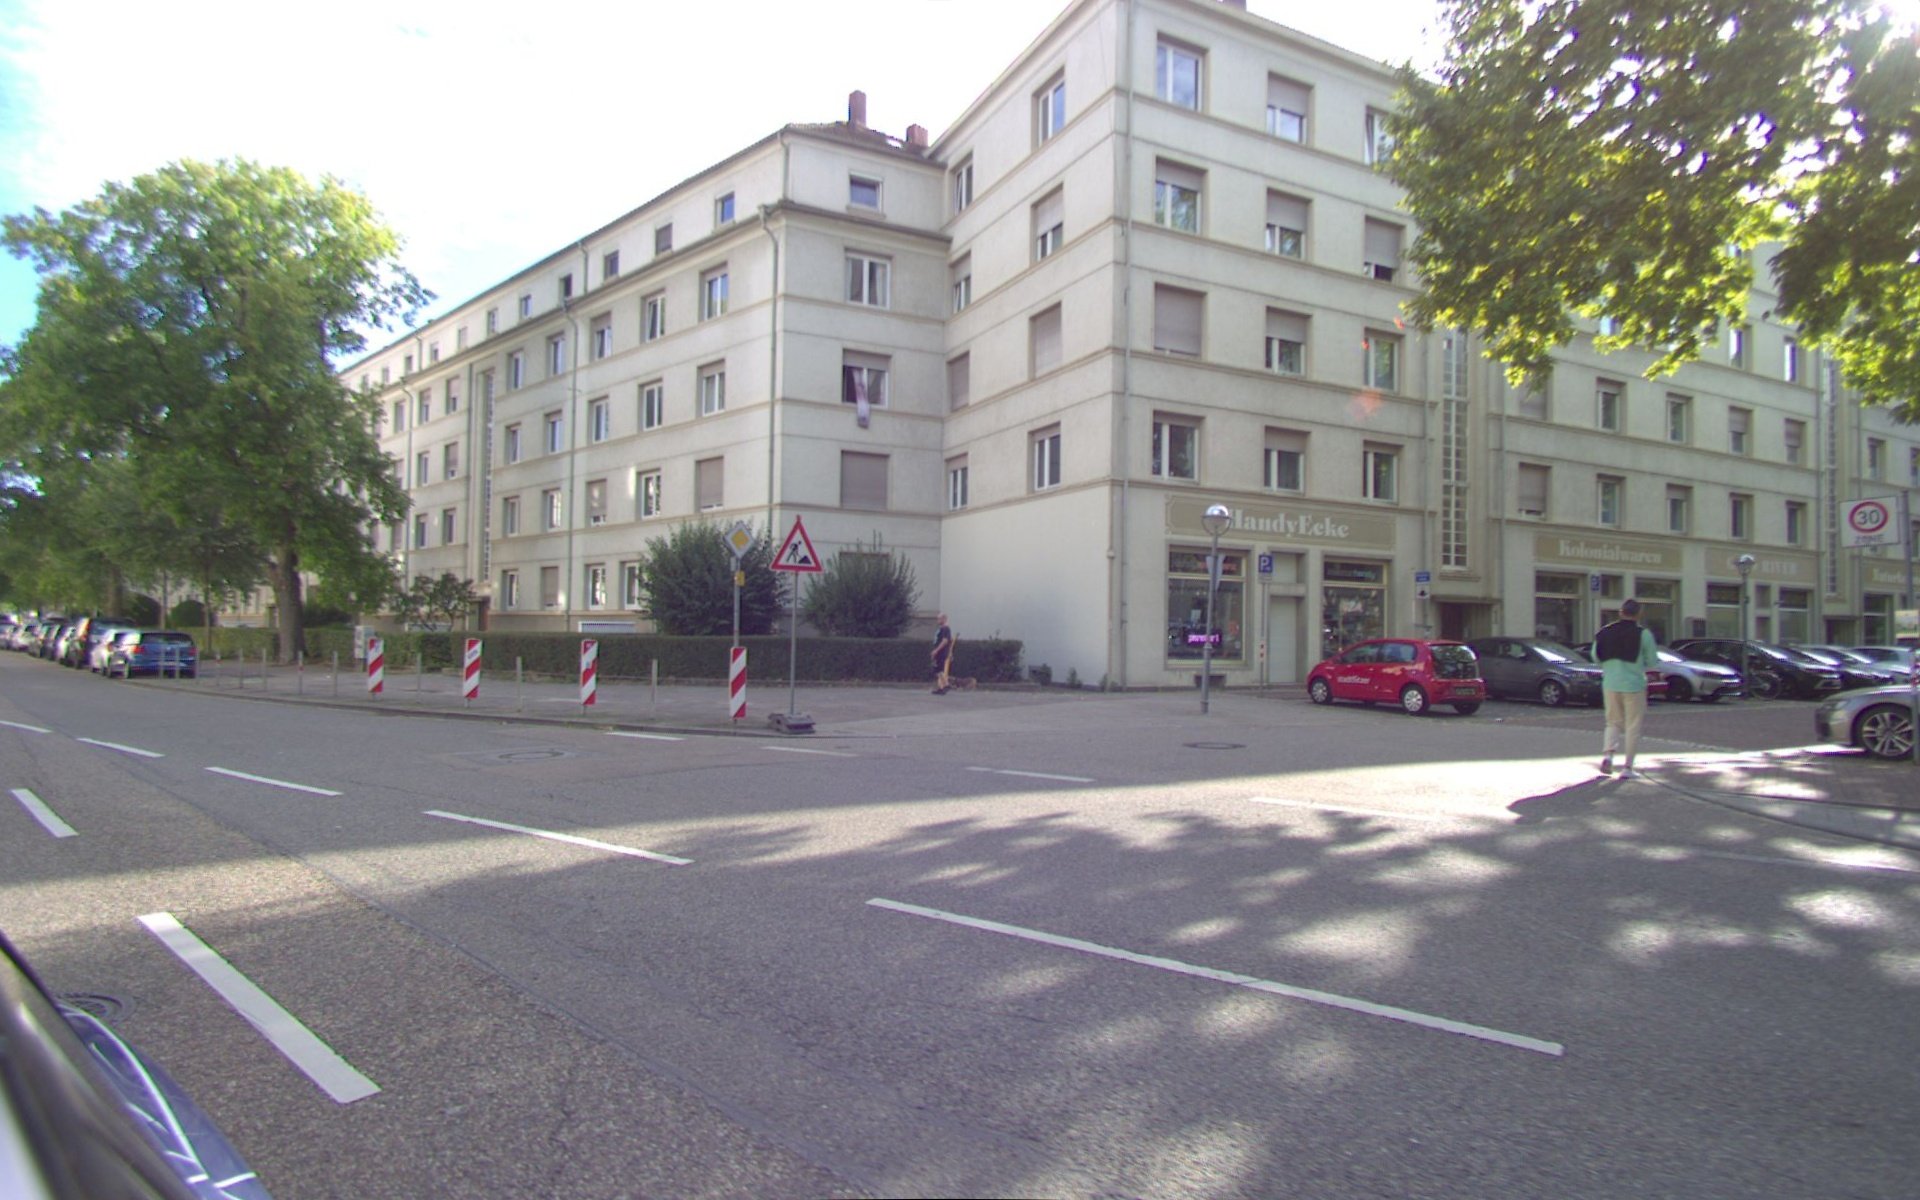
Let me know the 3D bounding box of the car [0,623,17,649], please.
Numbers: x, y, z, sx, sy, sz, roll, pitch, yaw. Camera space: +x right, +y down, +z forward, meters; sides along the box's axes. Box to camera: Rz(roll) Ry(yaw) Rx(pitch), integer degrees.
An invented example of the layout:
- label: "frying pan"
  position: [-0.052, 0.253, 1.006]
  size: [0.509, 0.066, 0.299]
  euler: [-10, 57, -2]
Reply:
- label: "car"
  position: [-70.073, 2.583, 73.452]
  size: [4.970, 1.807, 1.857]
  euler: [-1, -5, 42]

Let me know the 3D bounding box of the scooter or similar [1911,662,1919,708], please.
- label: "scooter or similar"
  position: [20.373, 1.758, 20.789]
  size: [0.997, 0.930, 0.810]
  euler: [1, -2, -18]

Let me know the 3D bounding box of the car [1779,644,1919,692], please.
- label: "car"
  position: [26.725, 1.966, 29.904]
  size: [1.623, 1.314, 3.570]
  euler: [2, -2, -30]

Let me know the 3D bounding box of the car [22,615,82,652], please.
- label: "car"
  position: [-44.367, 1.657, 49.411]
  size: [4.484, 1.681, 1.779]
  euler: [-2, -5, 44]

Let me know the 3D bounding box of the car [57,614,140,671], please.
- label: "car"
  position: [-30.919, 1.529, 36.274]
  size: [4.192, 1.897, 1.704]
  euler: [-2, -5, 43]

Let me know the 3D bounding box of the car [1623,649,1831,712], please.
- label: "car"
  position: [18.092, 1.850, 24.019]
  size: [1.623, 1.314, 3.570]
  euler: [2, -2, -30]

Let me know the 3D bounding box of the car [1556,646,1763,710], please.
- label: "car"
  position: [16.015, 1.740, 23.350]
  size: [1.623, 1.314, 3.570]
  euler: [2, -2, -30]

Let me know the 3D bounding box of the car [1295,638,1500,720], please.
- label: "car"
  position: [8.836, 1.540, 20.754]
  size: [1.568, 1.489, 3.718]
  euler: [1, -2, -26]

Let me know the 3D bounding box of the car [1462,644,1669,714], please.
- label: "car"
  position: [13.491, 1.704, 22.760]
  size: [1.568, 1.377, 3.718]
  euler: [1, -2, -27]

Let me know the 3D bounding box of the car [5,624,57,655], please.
- label: "car"
  position: [-50.933, 2.147, 55.463]
  size: [3.993, 1.632, 1.720]
  euler: [-1, -3, 42]

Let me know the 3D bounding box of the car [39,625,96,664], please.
- label: "car"
  position: [-37.818, 1.883, 42.864]
  size: [3.017, 1.532, 1.535]
  euler: [-2, -5, 45]

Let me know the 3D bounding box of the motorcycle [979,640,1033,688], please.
- label: "motorcycle"
  position: [1.174, 1.640, 26.192]
  size: [0.537, 1.172, 1.882]
  euler: [2, -2, -27]

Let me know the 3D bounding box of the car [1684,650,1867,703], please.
- label: "car"
  position: [22.408, 2.057, 27.950]
  size: [1.623, 1.314, 3.570]
  euler: [2, -2, -30]

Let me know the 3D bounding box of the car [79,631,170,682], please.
- label: "car"
  position: [-26.905, 1.792, 32.552]
  size: [3.804, 1.505, 1.779]
  euler: [-2, -5, 44]

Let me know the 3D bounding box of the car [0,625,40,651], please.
- label: "car"
  position: [-54.418, 2.178, 58.404]
  size: [4.013, 1.479, 1.596]
  euler: [-1, -3, 43]

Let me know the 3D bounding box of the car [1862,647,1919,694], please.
- label: "car"
  position: [30.993, 2.229, 31.810]
  size: [1.623, 1.455, 3.570]
  euler: [2, -2, -30]

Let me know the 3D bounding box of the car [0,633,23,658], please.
- label: "car"
  position: [-62.332, 2.934, 65.991]
  size: [1.665, 1.492, 4.455]
  euler: [7, -6, -43]

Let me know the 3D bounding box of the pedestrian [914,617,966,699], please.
- label: "pedestrian"
  position: [-0.400, 1.155, 20.338]
  size: [0.732, 1.590, 0.724]
  euler: [-1, -3, 39]

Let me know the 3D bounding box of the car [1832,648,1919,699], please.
- label: "car"
  position: [29.039, 2.239, 30.708]
  size: [1.623, 1.484, 3.570]
  euler: [2, -2, -30]

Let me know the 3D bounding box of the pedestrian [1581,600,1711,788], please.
- label: "pedestrian"
  position: [6.866, 0.896, 10.197]
  size: [0.914, 1.767, 1.068]
  euler: [-1, -1, 27]

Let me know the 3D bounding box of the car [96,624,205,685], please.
- label: "car"
  position: [-23.478, 1.569, 29.309]
  size: [3.802, 1.632, 1.780]
  euler: [-1, -5, 42]

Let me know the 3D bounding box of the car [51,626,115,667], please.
- label: "car"
  position: [-34.603, 1.820, 39.877]
  size: [1.674, 1.504, 4.336]
  euler: [4, -4, -43]

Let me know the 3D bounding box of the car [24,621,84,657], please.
- label: "car"
  position: [-40.821, 1.775, 45.591]
  size: [3.849, 1.498, 1.681]
  euler: [-2, -5, 44]

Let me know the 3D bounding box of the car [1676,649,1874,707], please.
- label: "car"
  position: [20.625, 1.920, 25.761]
  size: [1.623, 1.314, 3.570]
  euler: [2, -2, -30]

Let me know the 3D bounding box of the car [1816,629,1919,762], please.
- label: "car"
  position: [13.399, 1.151, 11.671]
  size: [2.204, 1.598, 4.986]
  euler: [2, -3, -36]
